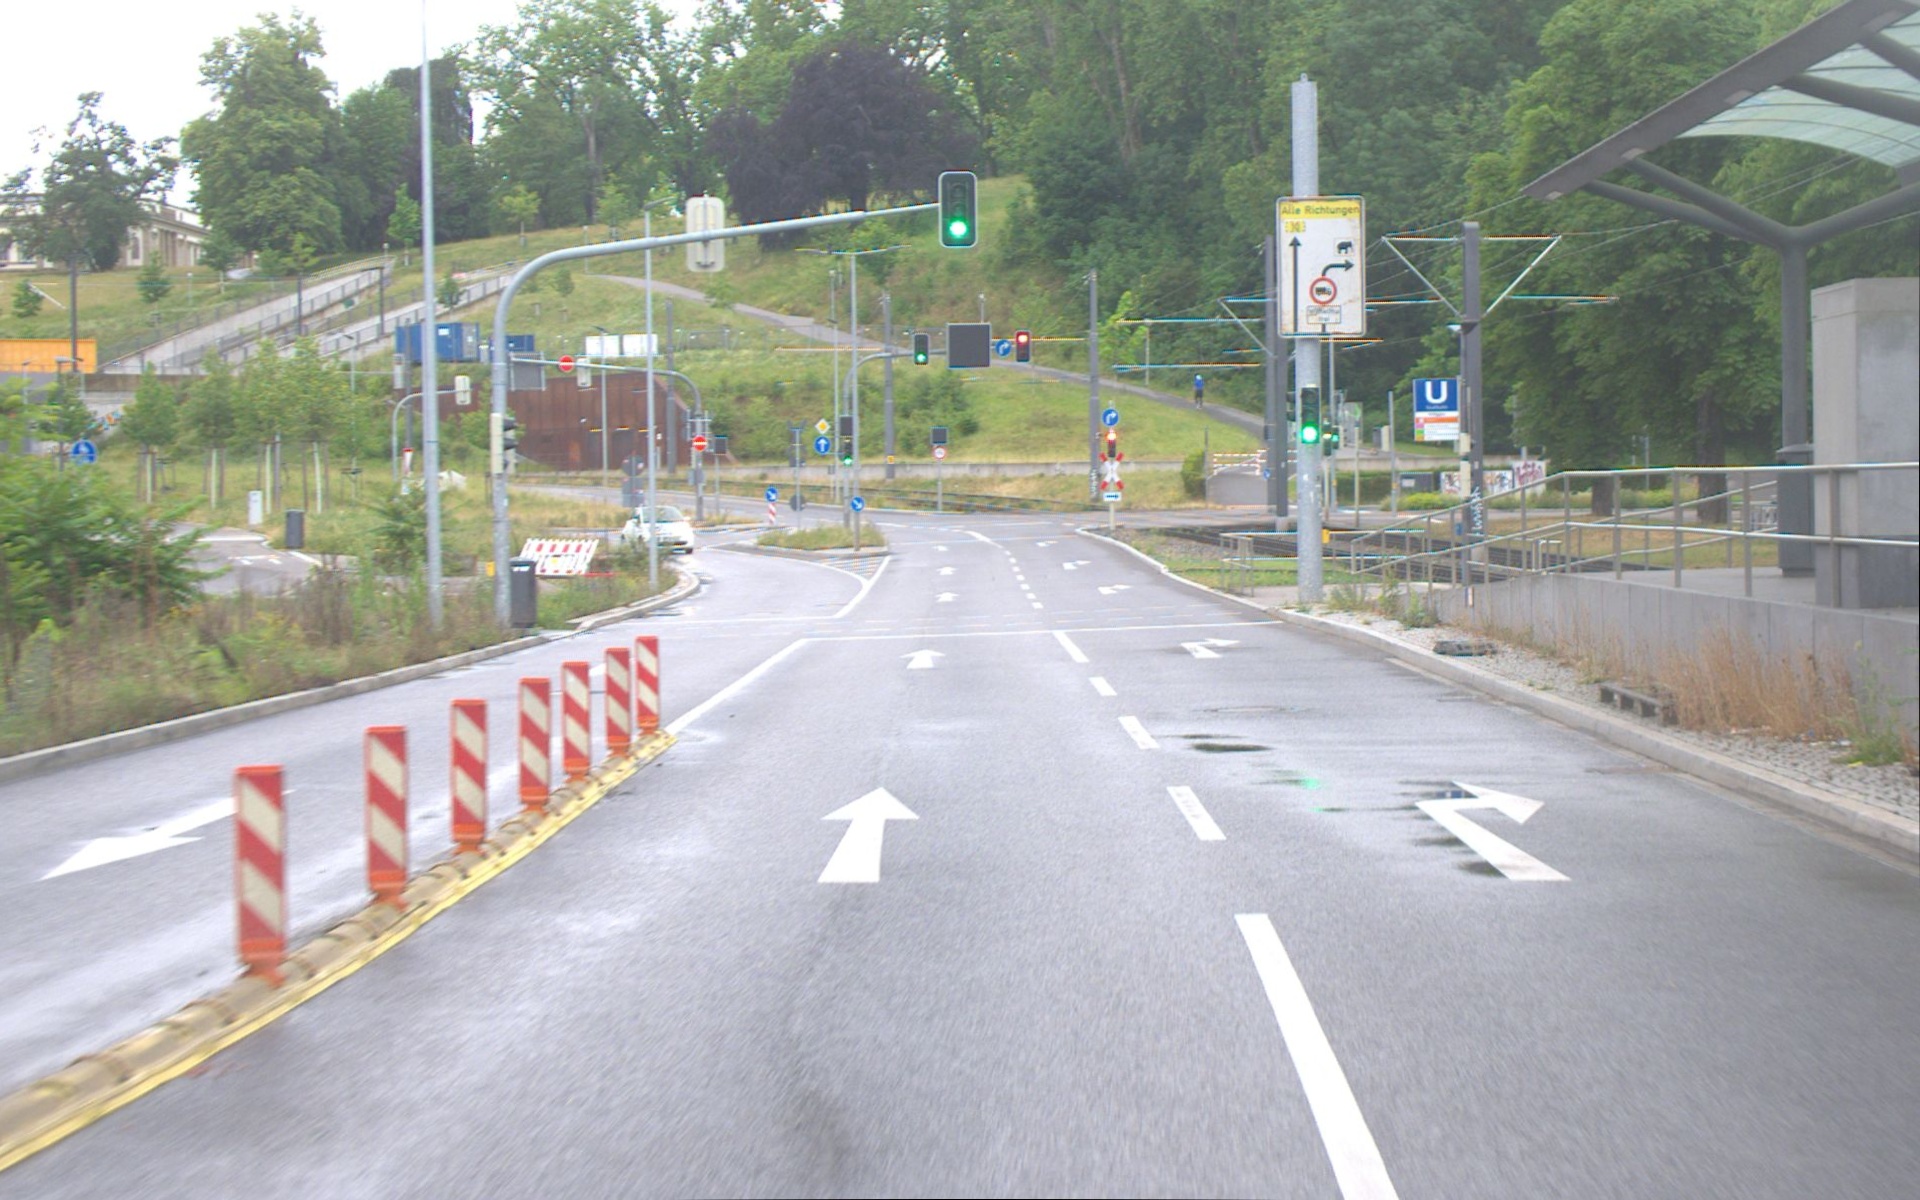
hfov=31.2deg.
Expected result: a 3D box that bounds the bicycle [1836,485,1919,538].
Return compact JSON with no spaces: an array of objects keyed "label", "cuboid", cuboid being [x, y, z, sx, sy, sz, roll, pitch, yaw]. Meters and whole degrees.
[{"label":"bicycle","cuboid":[19.840,-1.889,73.070,2.222,1.028,0.689,-3,3,-2]}]

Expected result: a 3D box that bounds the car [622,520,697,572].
[{"label":"car","cuboid":[-9.329,-1.702,106.631,1.587,1.486,3.716,-4,2,-15]}]

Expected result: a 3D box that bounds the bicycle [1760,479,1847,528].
[{"label":"bicycle","cuboid":[19.649,-2.248,80.110,1.810,1.028,0.653,-3,3,-2]}]

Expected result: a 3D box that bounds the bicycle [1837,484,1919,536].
[{"label":"bicycle","cuboid":[19.871,-1.937,73.945,1.810,1.028,0.653,-3,3,-2]}]
